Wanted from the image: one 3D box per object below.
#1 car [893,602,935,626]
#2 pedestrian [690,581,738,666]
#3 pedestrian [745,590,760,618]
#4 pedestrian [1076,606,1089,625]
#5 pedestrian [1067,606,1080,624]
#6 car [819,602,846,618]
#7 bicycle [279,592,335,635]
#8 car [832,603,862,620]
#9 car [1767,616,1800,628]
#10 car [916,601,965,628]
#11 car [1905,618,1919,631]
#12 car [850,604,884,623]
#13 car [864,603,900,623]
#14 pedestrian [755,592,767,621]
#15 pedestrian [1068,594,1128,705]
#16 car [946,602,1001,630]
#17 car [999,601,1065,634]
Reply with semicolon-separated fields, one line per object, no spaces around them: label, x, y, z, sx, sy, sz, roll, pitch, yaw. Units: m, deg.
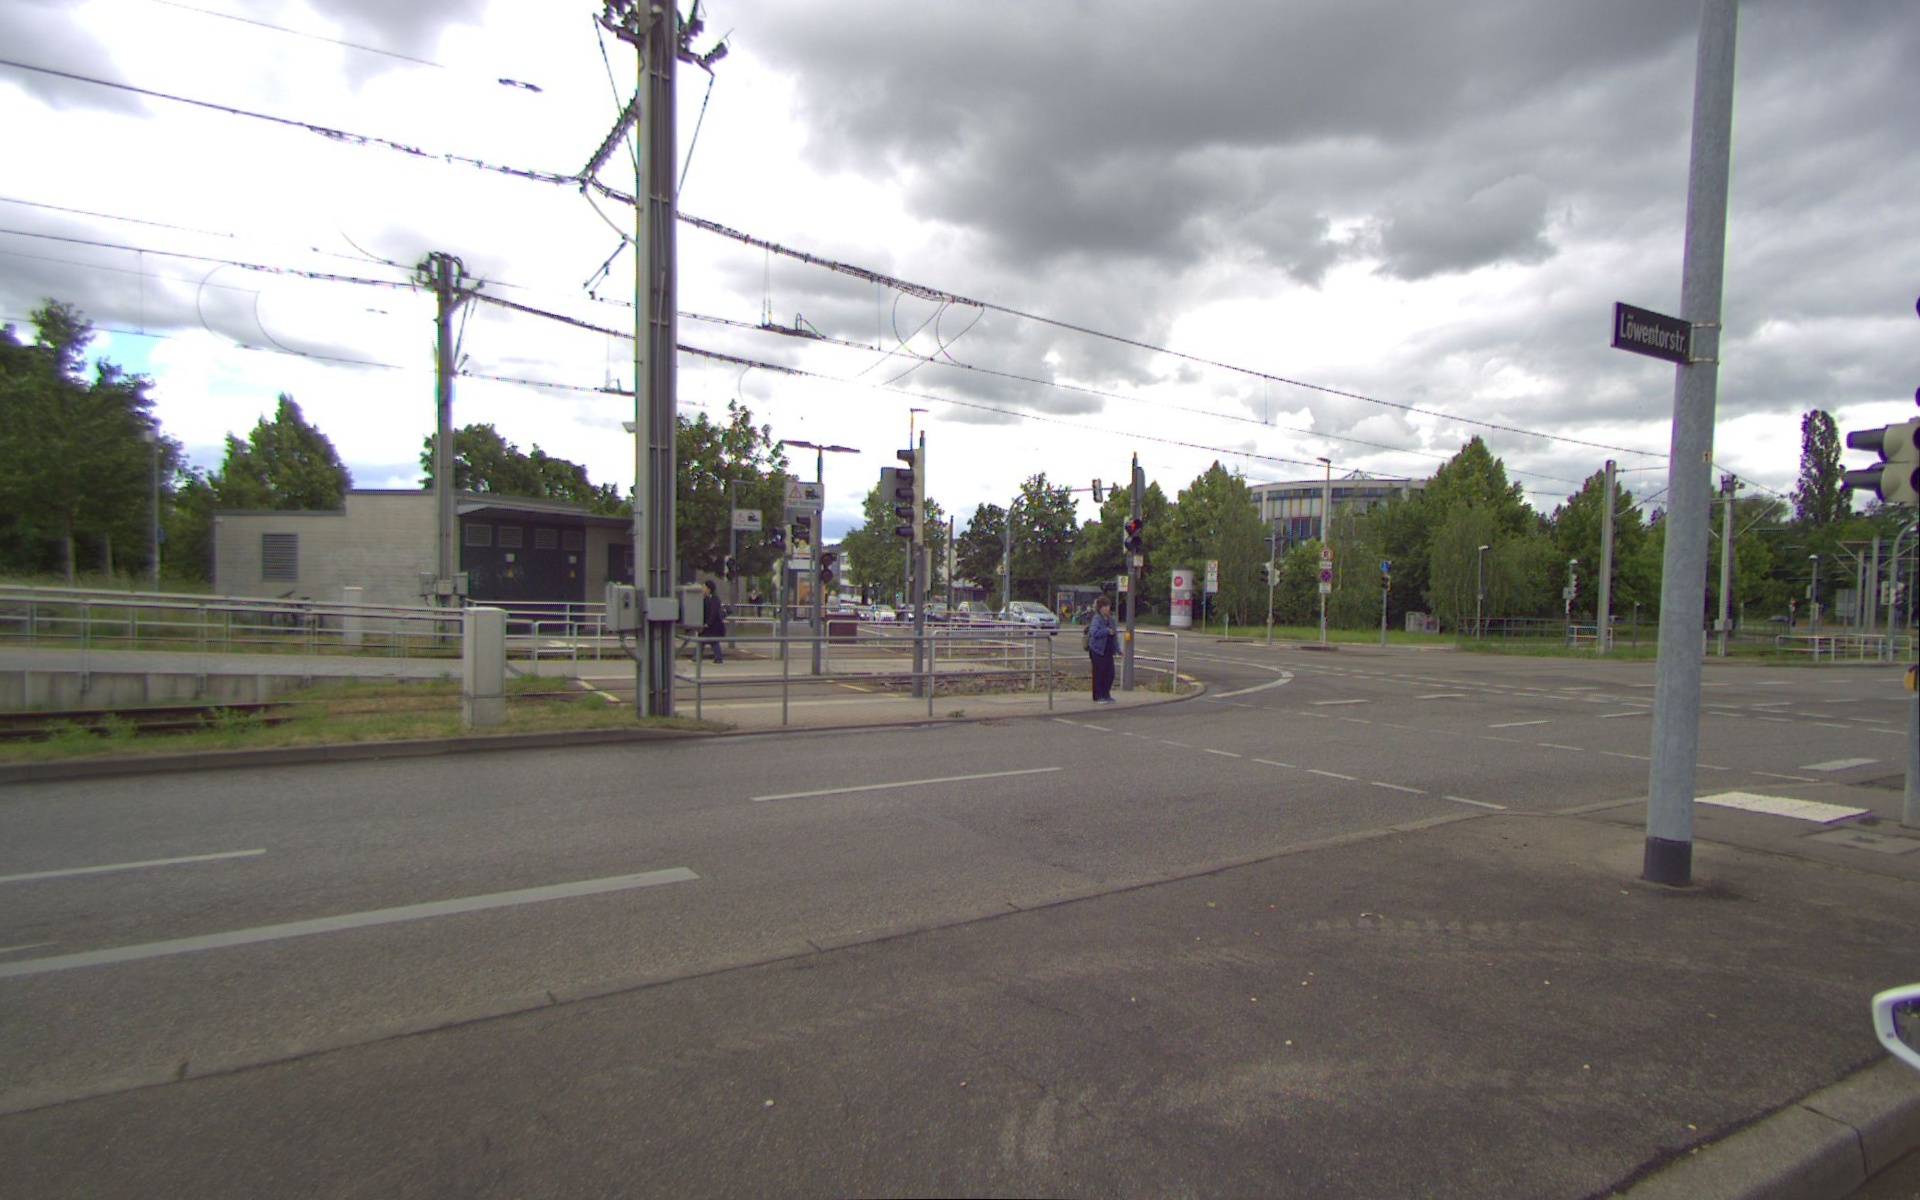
car;-3.012;0.892;64.921;1.706;1.456;3.731;1;0;-20
pedestrian;-4.829;0.457;19.740;0.653;1.628;0.698;1;1;-41
pedestrian;-12.200;0.231;58.997;0.771;1.649;0.660;1;0;-22
pedestrian;8.722;1.106;71.790;0.652;1.322;0.780;1;0;-16
pedestrian;8.257;1.082;73.079;0.652;1.321;0.780;1;0;-16
car;-11.942;0.966;94.062;1.706;1.456;3.731;1;0;-20
bicycle;-17.331;0.352;26.666;1.452;1.101;0.492;1;0;22
car;-9.779;0.991;86.705;1.706;1.456;3.731;1;0;-20
car;117.109;3.126;142.919;1.748;1.567;4.027;1;0;6
car;-1.157;0.820;58.155;1.706;1.456;3.731;1;0;-20
car;114.464;2.933;119.021;1.747;1.567;4.027;1;0;12
car;-7.428;1.027;79.674;1.706;1.456;3.991;1;0;-20
car;-5.822;0.967;74.772;1.706;1.456;3.731;1;0;-20
pedestrian;-14.000;0.478;70.645;0.738;1.993;0.795;1;0;-9
pedestrian;2.030;0.706;14.719;0.701;1.584;0.533;1;1;-44
car;0.683;0.848;53.660;1.706;1.456;3.731;1;0;-20
car;3.296;0.803;46.800;1.706;1.456;3.731;1;0;-20
